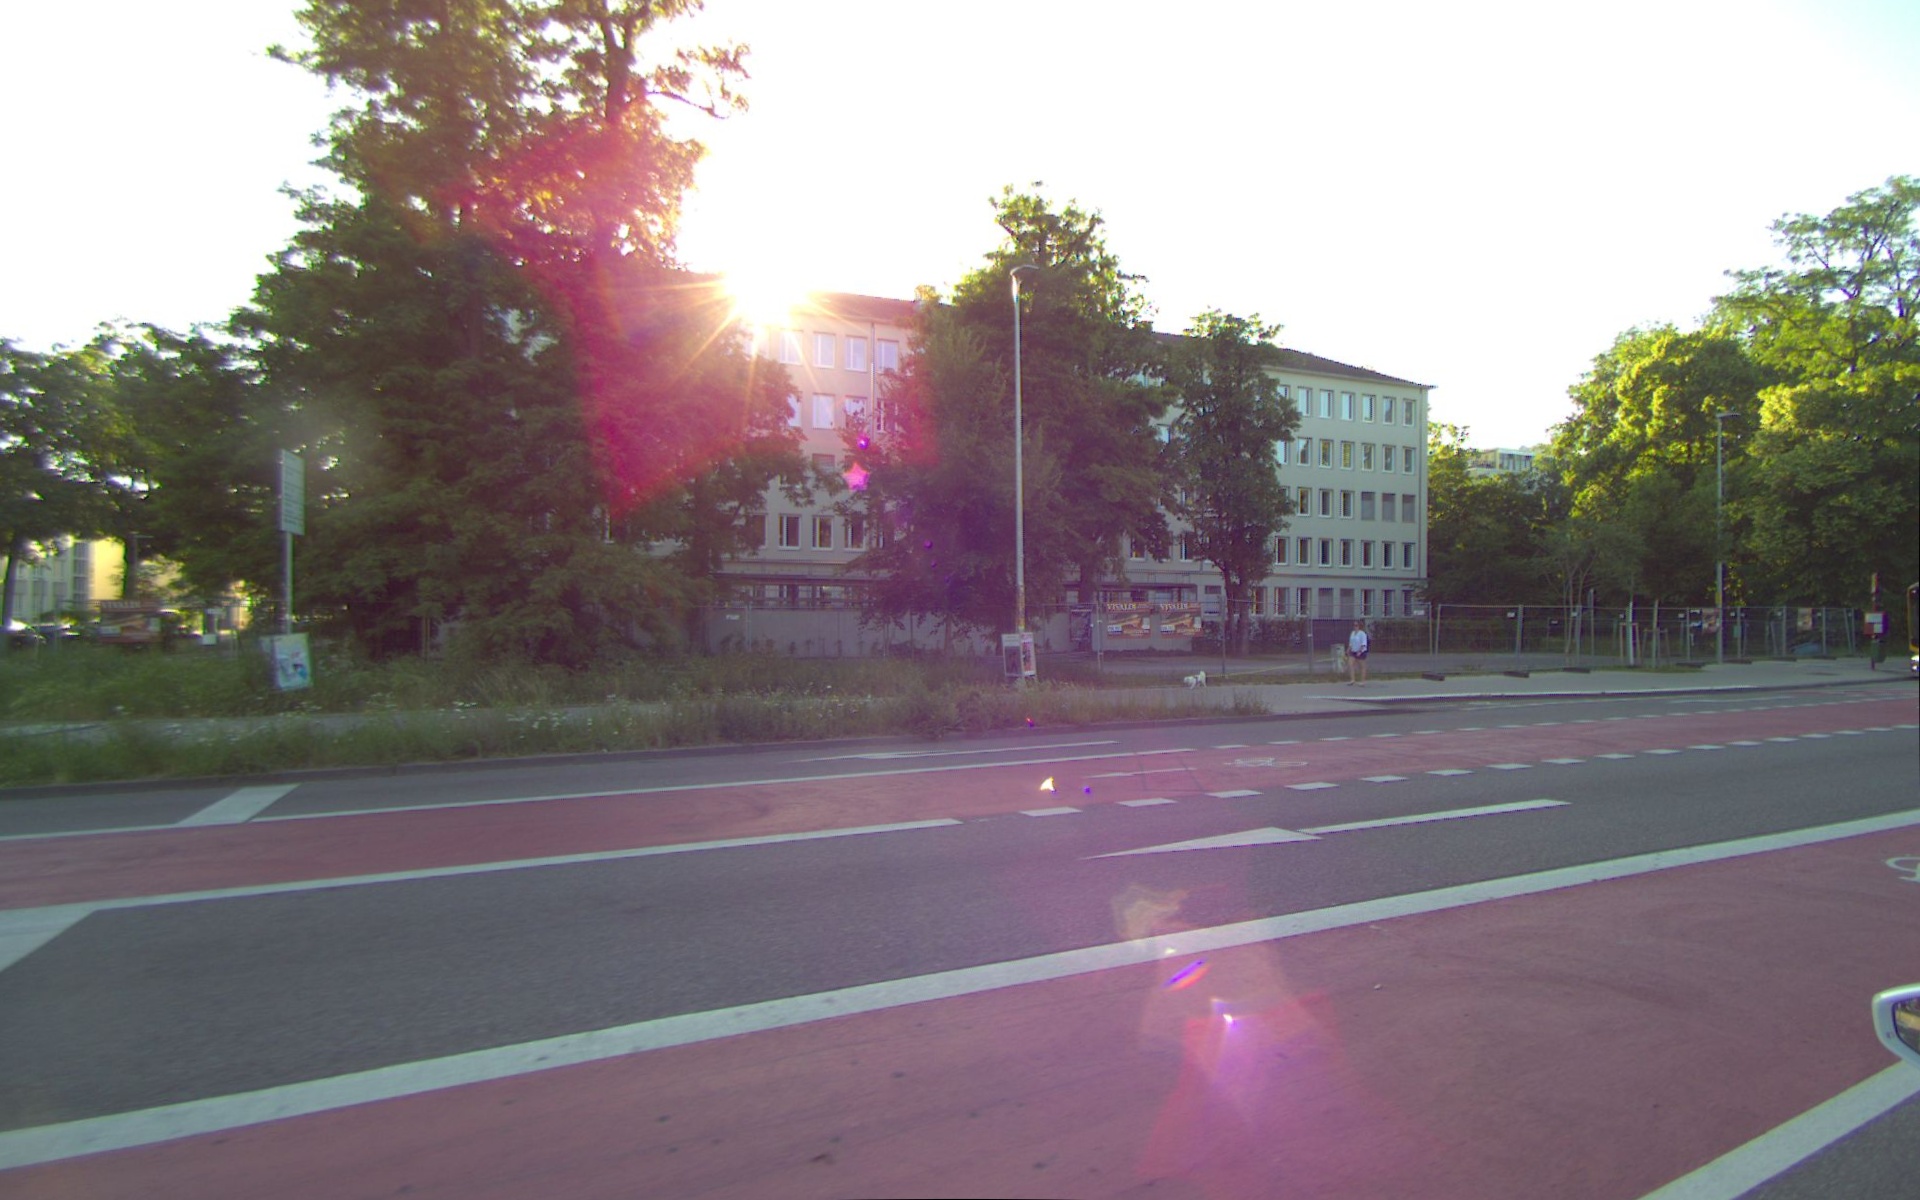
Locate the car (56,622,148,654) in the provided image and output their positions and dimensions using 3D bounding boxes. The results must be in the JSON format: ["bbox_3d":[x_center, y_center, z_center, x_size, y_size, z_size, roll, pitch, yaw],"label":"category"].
[{"bbox_3d":[-43.102,1.886,50.573,2.204,1.560,4.238,1,-1,-21],"label":"car"}]

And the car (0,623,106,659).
[{"bbox_3d":[-41.320,1.835,45.885,2.204,1.560,4.238,1,-1,-21],"label":"car"}]

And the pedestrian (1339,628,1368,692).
[{"bbox_3d":[9.676,1.458,24.703,0.565,1.554,0.448,1,-1,-34],"label":"pedestrian"}]

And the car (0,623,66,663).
[{"bbox_3d":[-39.128,1.733,41.282,2.204,1.560,4.238,1,-1,-21],"label":"car"}]

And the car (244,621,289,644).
[{"bbox_3d":[-51.857,2.417,75.220,1.784,1.607,3.982,1,-1,-20],"label":"car"}]

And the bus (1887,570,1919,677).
[{"bbox_3d":[33.224,0.778,32.050,8.494,3.239,2.828,1,-1,-29],"label":"bus"}]

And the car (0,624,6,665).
[{"bbox_3d":[-36.830,1.658,36.214,2.038,1.560,4.238,1,-1,-21],"label":"car"}]
